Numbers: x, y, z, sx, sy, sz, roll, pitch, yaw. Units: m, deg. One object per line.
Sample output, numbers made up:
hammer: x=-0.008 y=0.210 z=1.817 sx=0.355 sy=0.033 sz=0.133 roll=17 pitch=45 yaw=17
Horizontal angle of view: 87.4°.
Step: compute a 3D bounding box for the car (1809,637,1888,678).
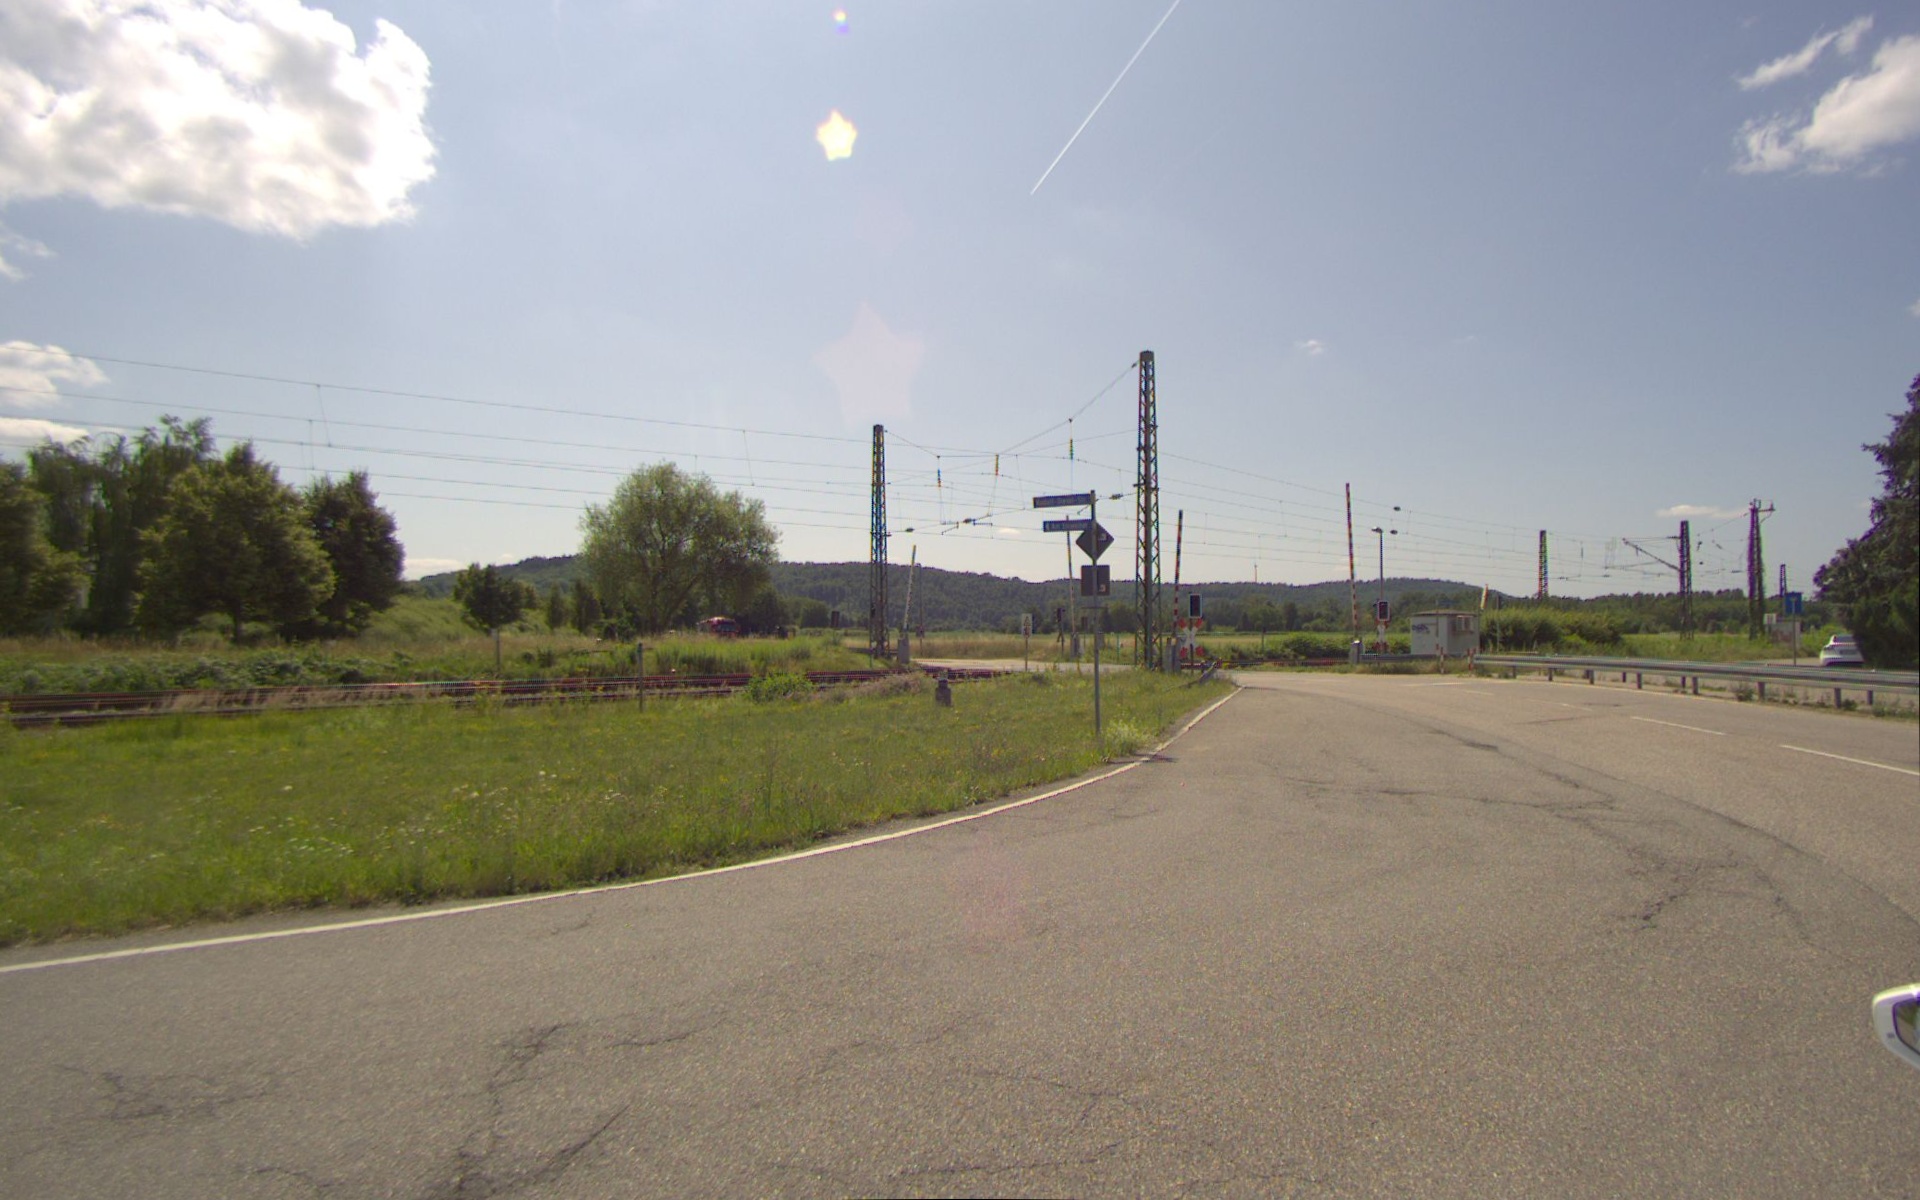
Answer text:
car: x=36.431 y=2.317 z=41.151 sx=4.422 sy=1.530 sz=1.975 roll=1 pitch=-2 yaw=-43
